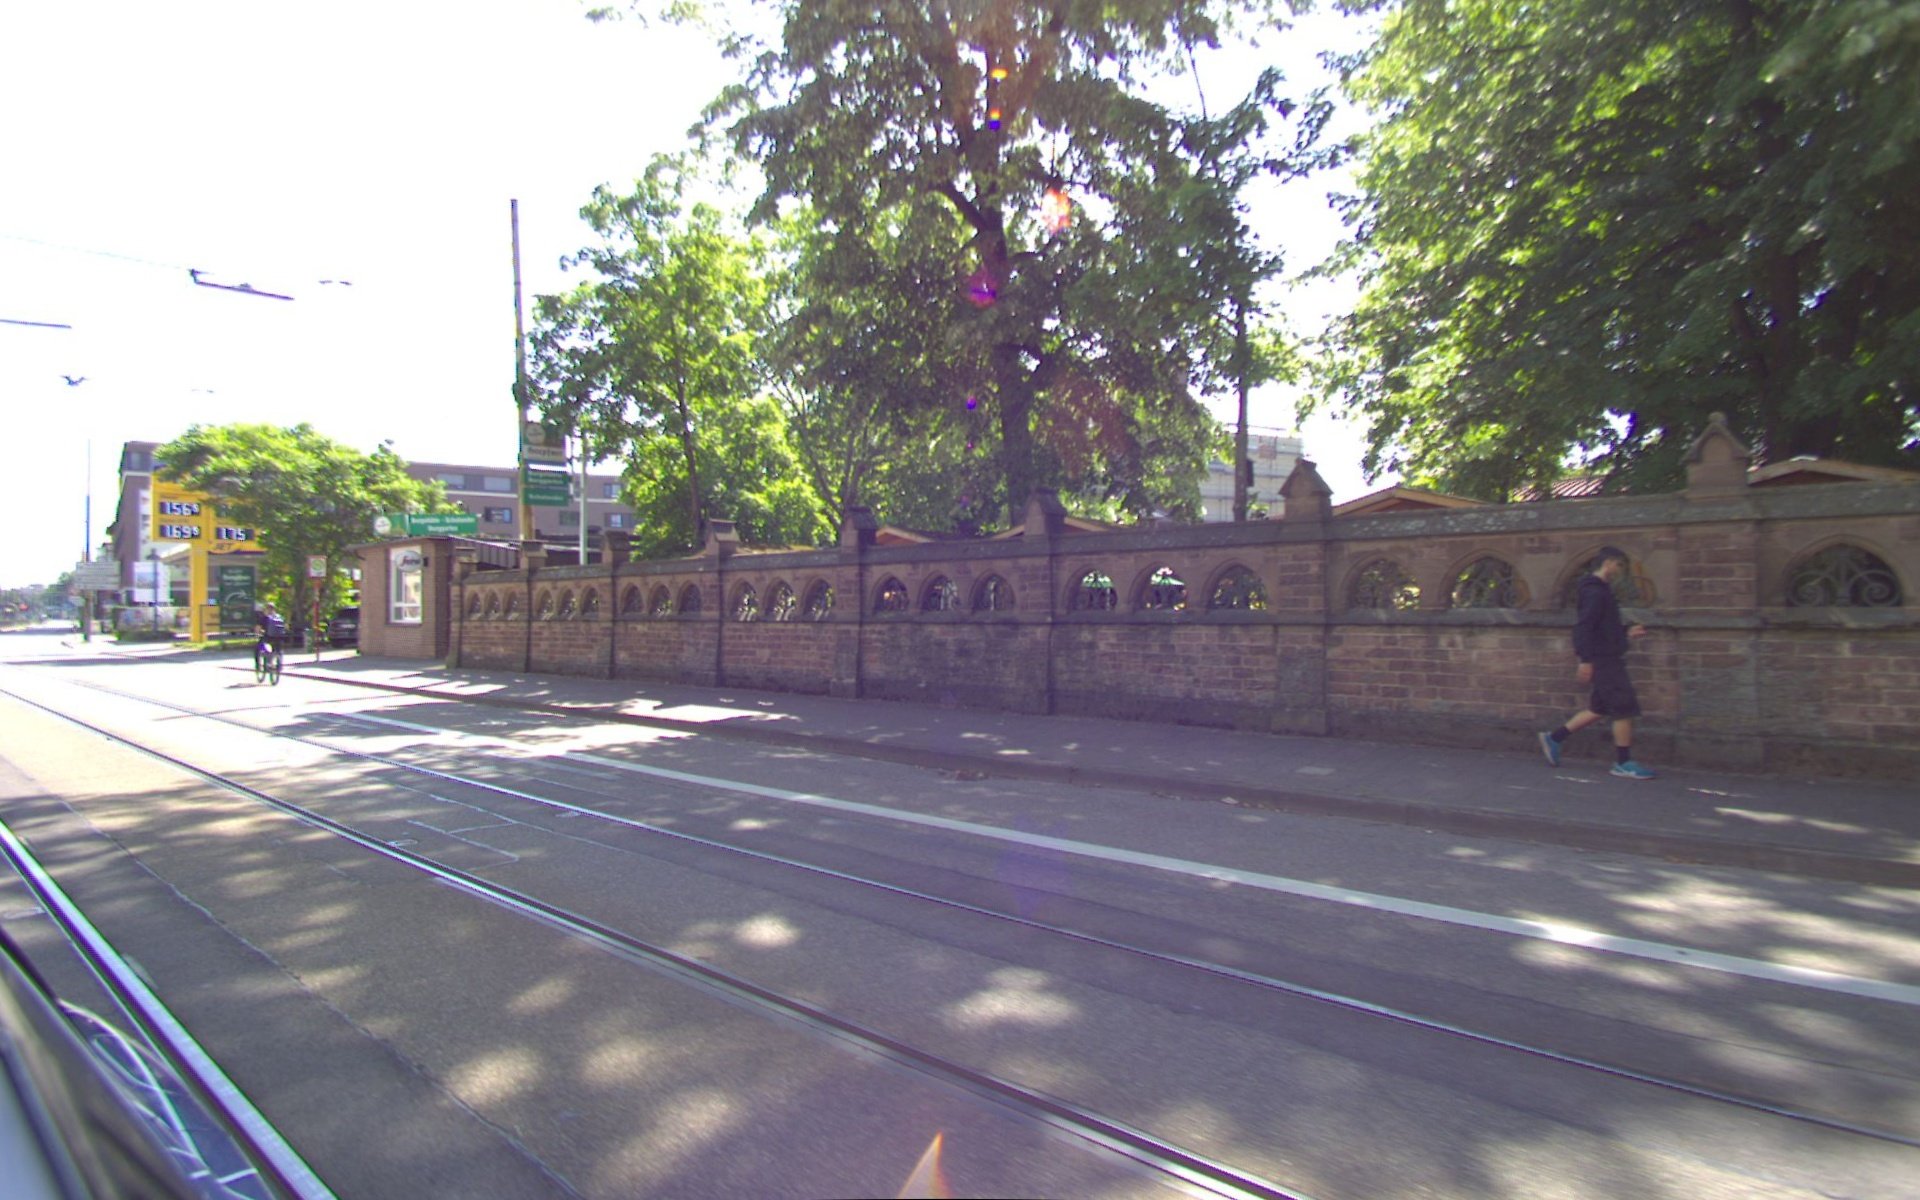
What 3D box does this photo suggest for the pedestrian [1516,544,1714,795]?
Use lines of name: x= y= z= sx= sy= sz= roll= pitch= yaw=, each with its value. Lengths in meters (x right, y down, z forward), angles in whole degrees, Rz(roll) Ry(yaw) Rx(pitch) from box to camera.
pedestrian: x=5.295 y=0.501 z=8.180 sx=1.184 sy=1.829 sz=0.966 roll=-1 pitch=2 yaw=42

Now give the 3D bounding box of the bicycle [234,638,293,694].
bicycle: x=-15.064 y=1.402 z=21.874 sx=2.053 sy=1.114 sz=0.585 roll=-1 pitch=-2 yaw=42

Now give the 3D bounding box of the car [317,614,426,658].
car: x=-23.323 y=1.380 z=40.325 sx=1.989 sy=1.653 sz=4.665 roll=-1 pitch=-1 yaw=-5

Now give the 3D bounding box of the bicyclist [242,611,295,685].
bicyclist: x=-14.897 y=1.009 z=21.805 sx=0.947 sy=1.542 sz=0.732 roll=-1 pitch=-1 yaw=42
